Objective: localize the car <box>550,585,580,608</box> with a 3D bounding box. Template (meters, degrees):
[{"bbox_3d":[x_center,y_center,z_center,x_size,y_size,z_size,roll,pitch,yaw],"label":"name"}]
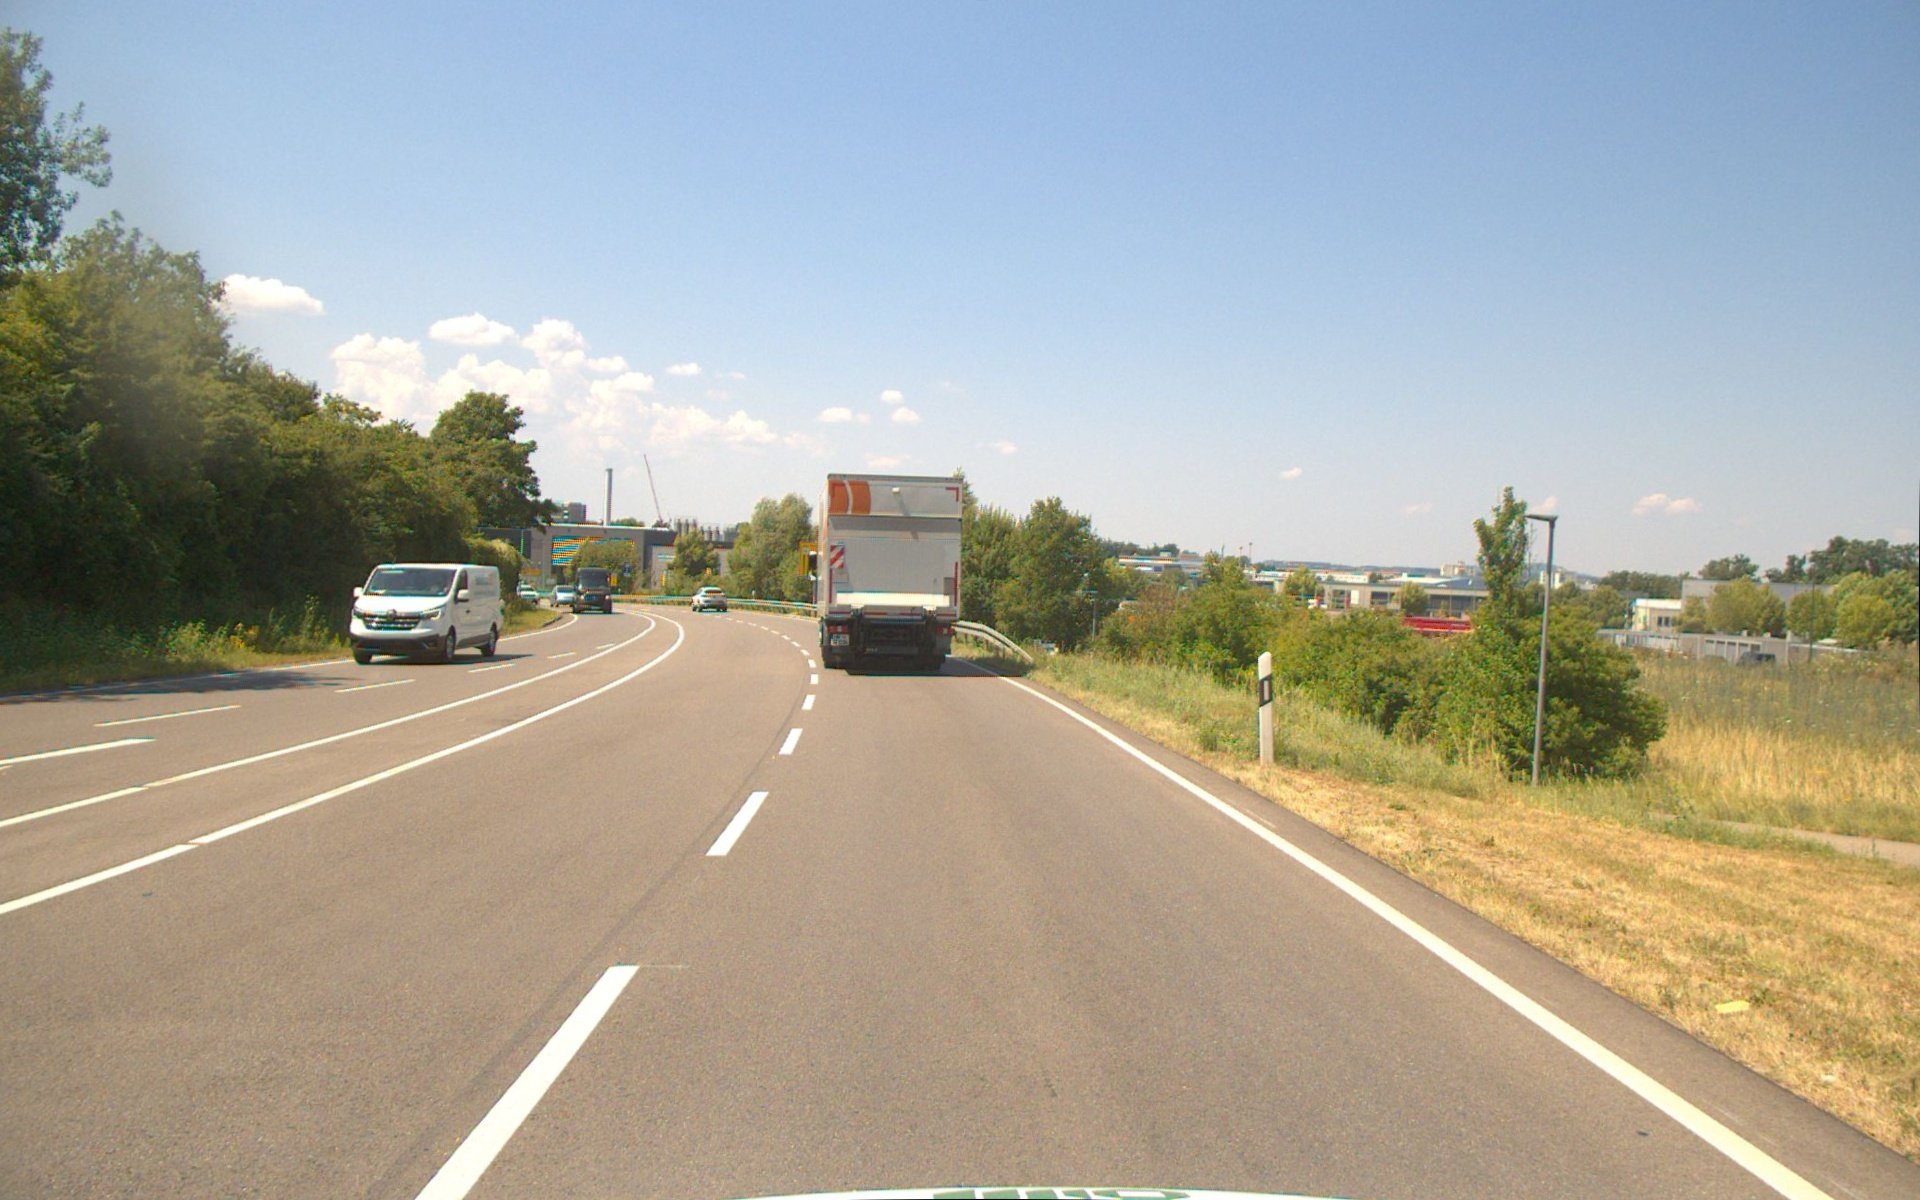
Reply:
[{"bbox_3d":[-29.942,-0.269,125.306,1.809,1.620,4.791,2,0,-18],"label":"car"}]

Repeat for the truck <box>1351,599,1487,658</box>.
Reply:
[{"bbox_3d":[34.555,2.087,124.617,9.210,3.747,3.127,4,2,28],"label":"truck"}]

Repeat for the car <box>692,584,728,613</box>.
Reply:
[{"bbox_3d":[-15.906,-0.101,105.107,1.911,1.693,3.986,3,-1,-13],"label":"car"}]

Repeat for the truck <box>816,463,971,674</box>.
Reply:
[{"bbox_3d":[-1.576,-0.638,34.584,2.749,3.775,9.099,1,1,-5],"label":"truck"}]

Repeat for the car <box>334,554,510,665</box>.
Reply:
[{"bbox_3d":[-10.974,0.144,34.192,2.035,2.049,5.803,2,1,-4],"label":"car"}]

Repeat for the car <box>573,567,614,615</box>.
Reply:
[{"bbox_3d":[-21.055,-0.517,95.162,2.149,2.585,6.018,2,0,-12],"label":"car"}]

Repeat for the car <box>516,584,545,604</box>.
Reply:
[{"bbox_3d":[-36.276,-0.543,139.649,1.964,1.657,4.171,0,1,-20],"label":"car"}]
